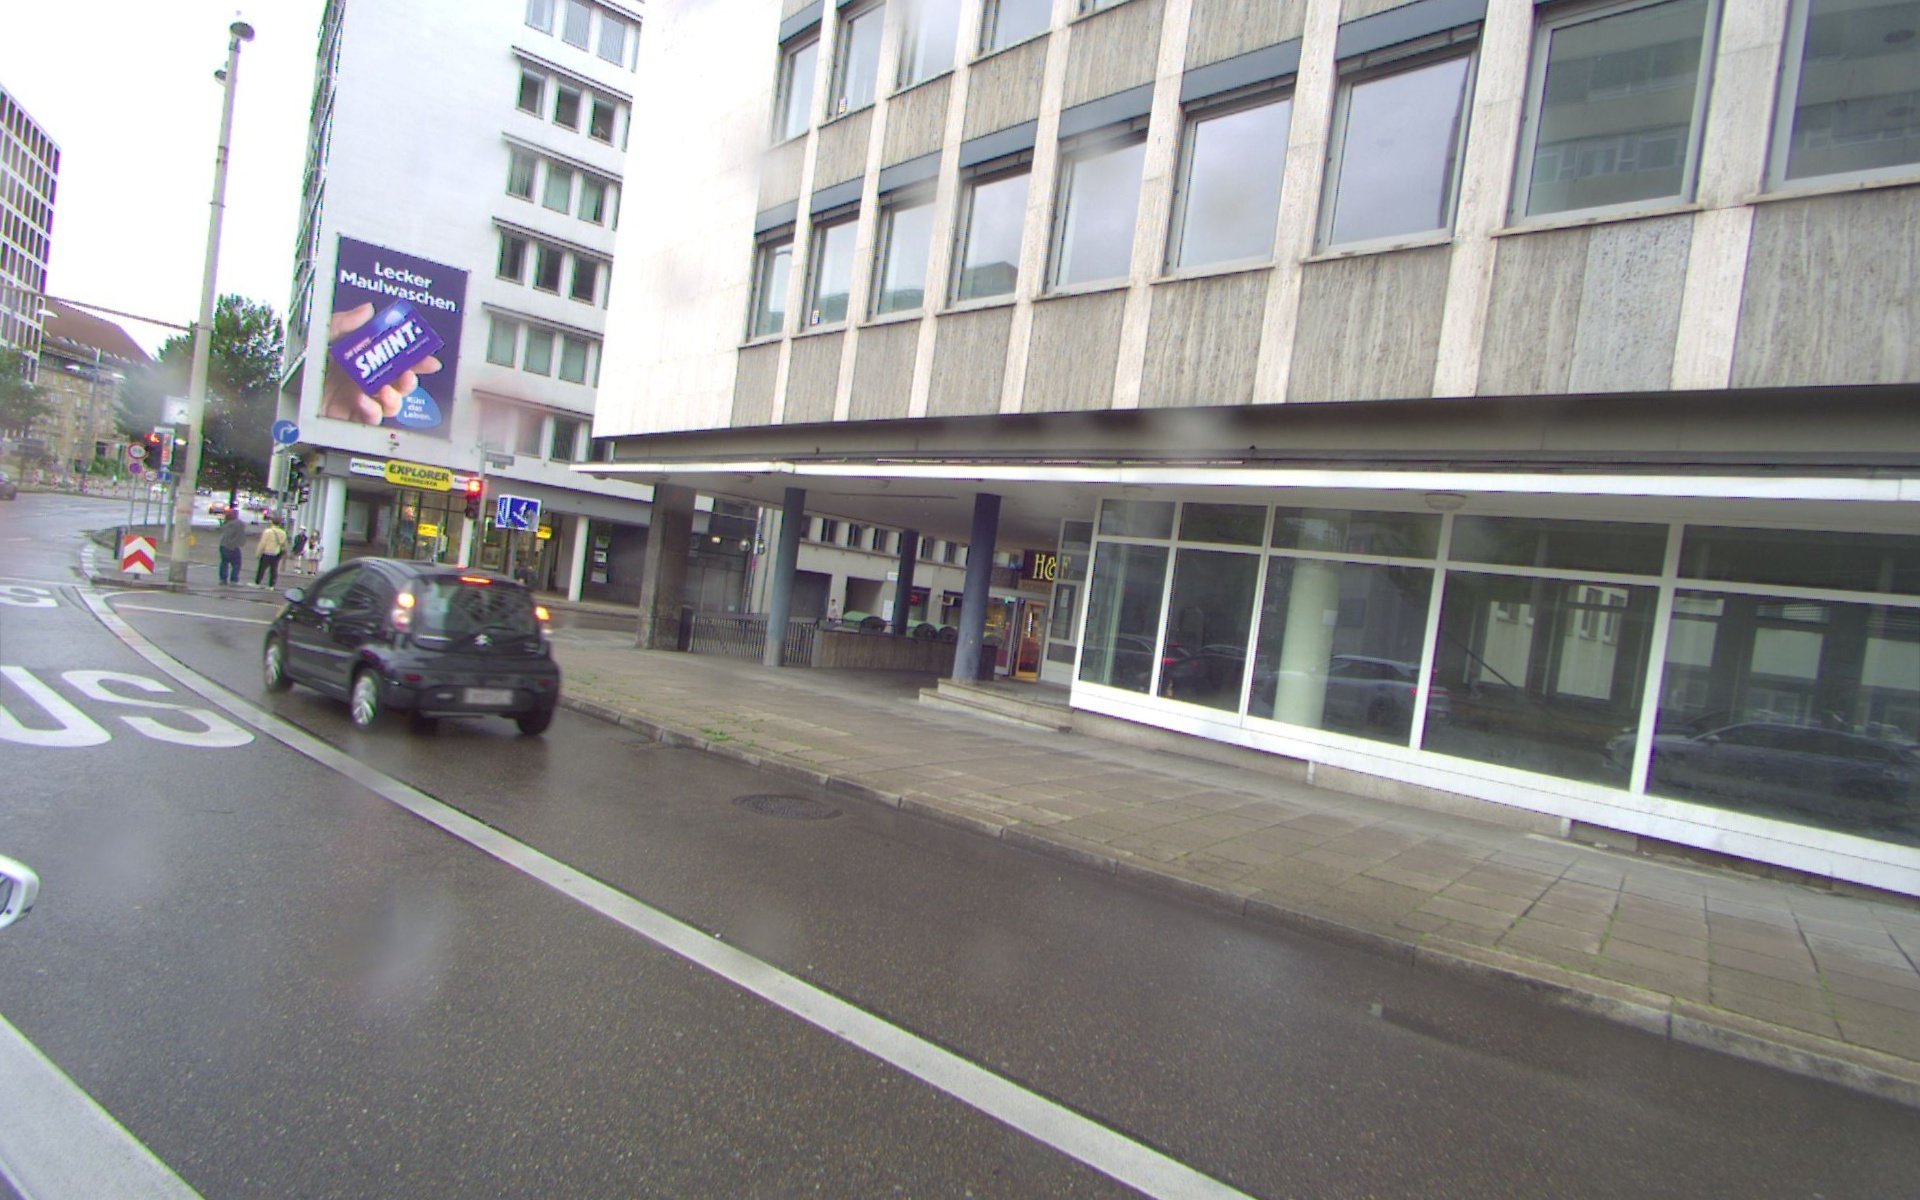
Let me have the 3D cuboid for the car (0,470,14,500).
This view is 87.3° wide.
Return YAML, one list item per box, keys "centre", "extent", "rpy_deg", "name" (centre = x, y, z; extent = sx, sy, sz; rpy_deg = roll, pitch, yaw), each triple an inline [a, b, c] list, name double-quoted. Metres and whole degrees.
- centre: [-54.017, -6.527, 55.566]
  extent: [1.984, 1.570, 3.960]
  rpy_deg: [9, -2, -37]
  name: "car"

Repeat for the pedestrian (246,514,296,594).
- centre: [-16.642, -1.112, 24.302]
  extent: [0.725, 1.820, 0.730]
  rpy_deg: [7, 1, -43]
  name: "pedestrian"

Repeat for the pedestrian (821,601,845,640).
- centre: [-6.184, 0.990, 48.944]
  extent: [0.677, 1.820, 0.722]
  rpy_deg: [7, 0, -37]
  name: "pedestrian"

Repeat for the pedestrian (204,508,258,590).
- centre: [-17.222, -1.208, 23.761]
  extent: [0.810, 1.820, 0.702]
  rpy_deg: [7, 0, -43]
  name: "pedestrian"

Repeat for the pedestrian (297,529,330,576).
- centre: [-22.568, -1.649, 35.120]
  extent: [0.725, 1.542, 0.751]
  rpy_deg: [7, -1, -43]
  name: "pedestrian"

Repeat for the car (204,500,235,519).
- centre: [-76.900, -9.400, 104.523]
  extent: [1.897, 1.527, 4.323]
  rpy_deg: [9, -2, -30]
  name: "car"

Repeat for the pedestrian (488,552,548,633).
- centre: [-10.645, -0.173, 24.248]
  extent: [1.002, 1.776, 0.793]
  rpy_deg: [7, -1, -14]
  name: "pedestrian"

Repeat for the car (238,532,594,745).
- centre: [-5.247, 0.310, 9.565]
  extent: [3.432, 1.490, 1.662]
  rpy_deg: [7, -1, 39]
  name: "car"

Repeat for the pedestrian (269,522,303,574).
- centre: [-23.224, -1.795, 34.677]
  extent: [0.725, 1.688, 0.682]
  rpy_deg: [7, 0, -43]
  name: "pedestrian"

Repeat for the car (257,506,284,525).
- centre: [-80.764, -9.902, 117.959]
  extent: [2.032, 1.786, 4.324]
  rpy_deg: [9, -2, -29]
  name: "car"
